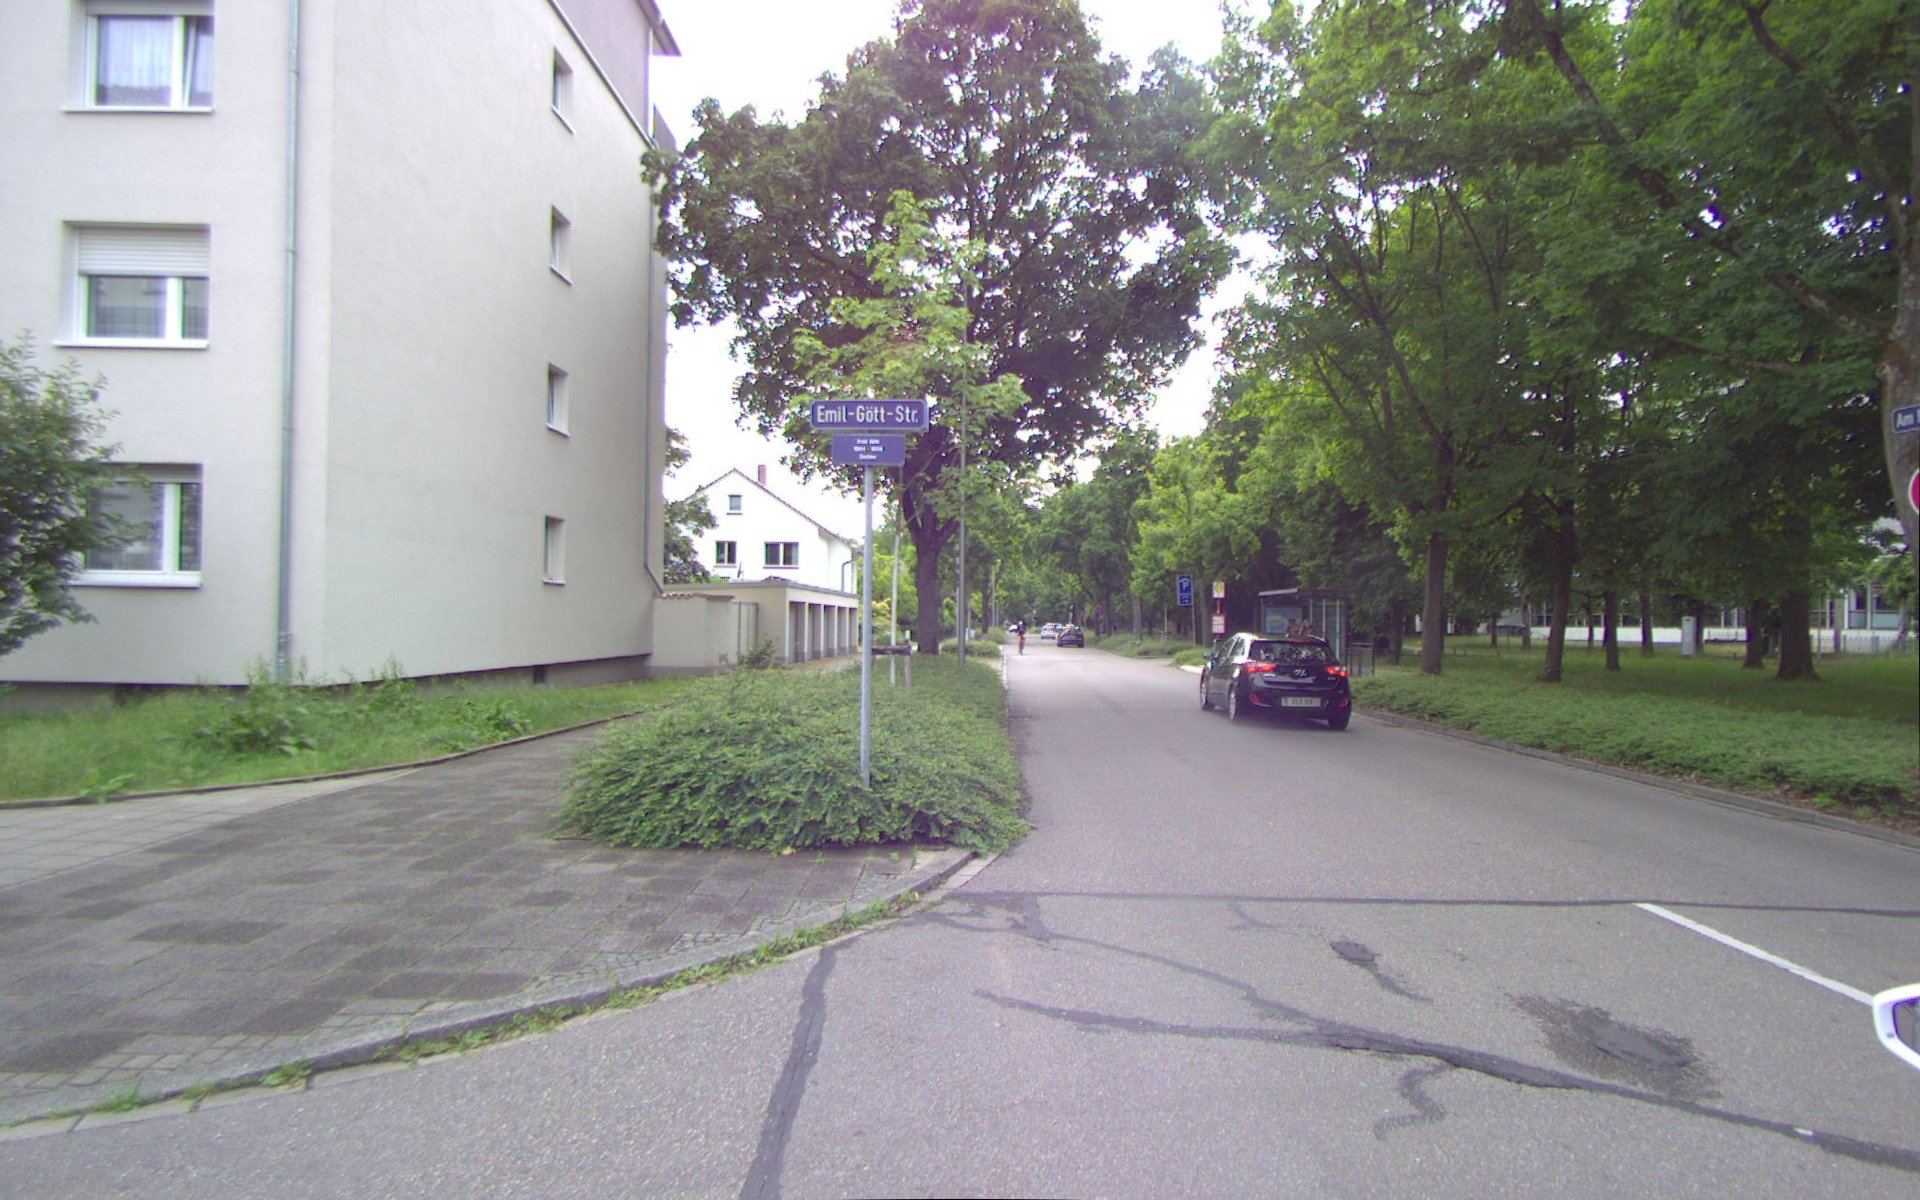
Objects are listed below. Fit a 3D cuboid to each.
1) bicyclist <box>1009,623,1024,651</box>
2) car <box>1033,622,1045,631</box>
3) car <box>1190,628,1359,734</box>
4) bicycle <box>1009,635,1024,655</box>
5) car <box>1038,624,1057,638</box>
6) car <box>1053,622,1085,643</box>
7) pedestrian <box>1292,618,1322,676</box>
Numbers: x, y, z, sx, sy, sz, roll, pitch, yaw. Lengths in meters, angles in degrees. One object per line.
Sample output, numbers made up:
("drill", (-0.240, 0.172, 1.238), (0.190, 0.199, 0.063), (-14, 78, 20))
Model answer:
("bicyclist", (3.093, 2.026, 55.026), (0.771, 1.489, 0.937), (0, -1, 3))
("car", (13.153, 4.397, 167.413), (1.960, 1.505, 4.002), (0, -1, 3))
("car", (5.087, 1.249, 16.793), (1.815, 1.482, 3.829), (1, -1, 4))
("bicycle", (3.074, 2.457, 54.893), (0.781, 1.039, 2.565), (0, -1, 3))
("car", (10.053, 3.566, 115.964), (1.868, 1.505, 4.001), (0, -1, 1))
("car", (7.821, 2.328, 72.354), (1.833, 1.482, 4.117), (0, -1, 0))
("pedestrian", (9.832, 1.326, 28.485), (0.643, 1.604, 0.698), (0, -1, 3))
